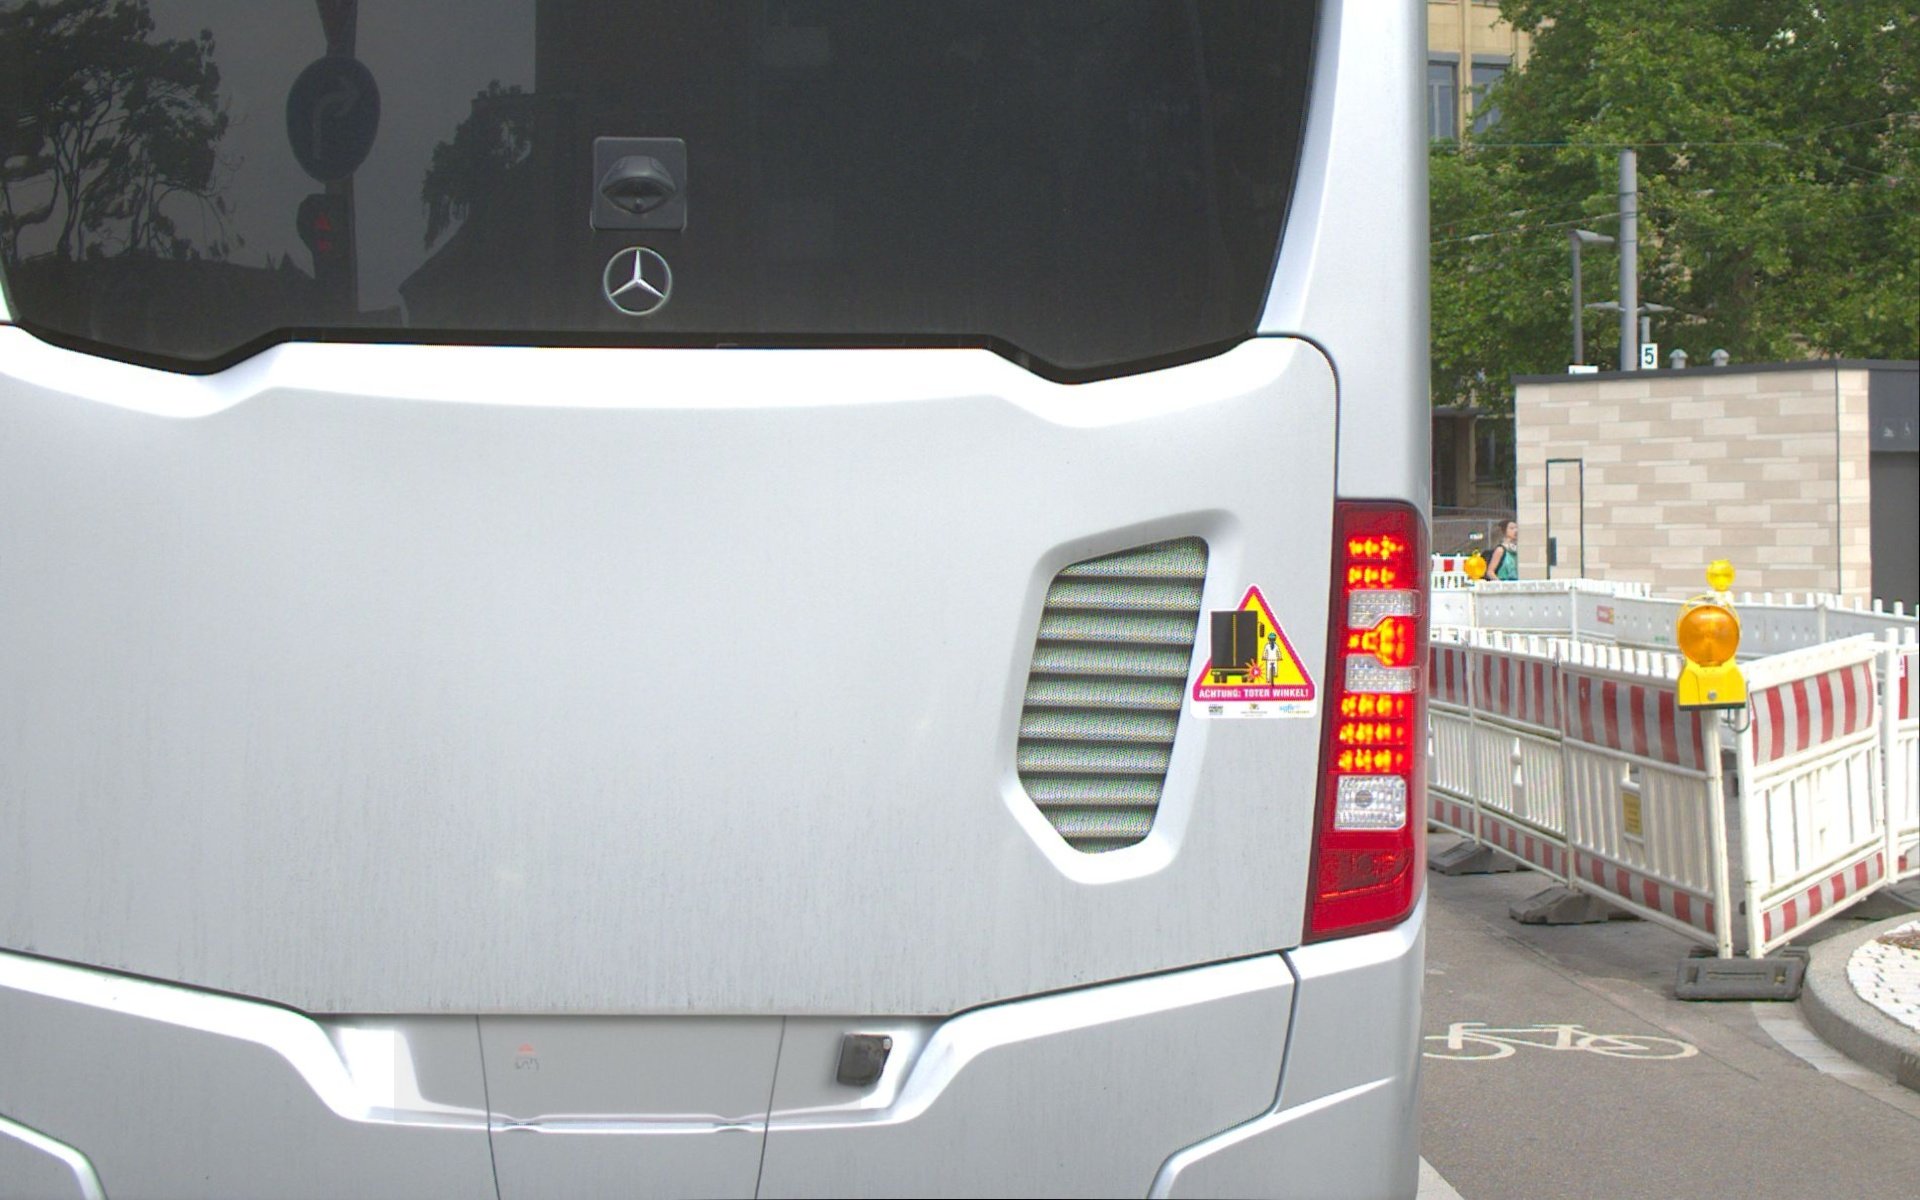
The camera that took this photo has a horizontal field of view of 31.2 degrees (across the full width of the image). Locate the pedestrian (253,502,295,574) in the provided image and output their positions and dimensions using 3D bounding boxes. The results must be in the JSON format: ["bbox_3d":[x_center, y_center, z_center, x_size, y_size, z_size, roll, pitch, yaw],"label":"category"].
[{"bbox_3d":[-19.300,-1.744,96.659,0.887,2.006,1.009,-1,2,-28],"label":"pedestrian"}]

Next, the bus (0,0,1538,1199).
[{"bbox_3d":[-0.849,-0.445,12.018,2.704,3.426,14.185,0,1,-3],"label":"bus"}]
